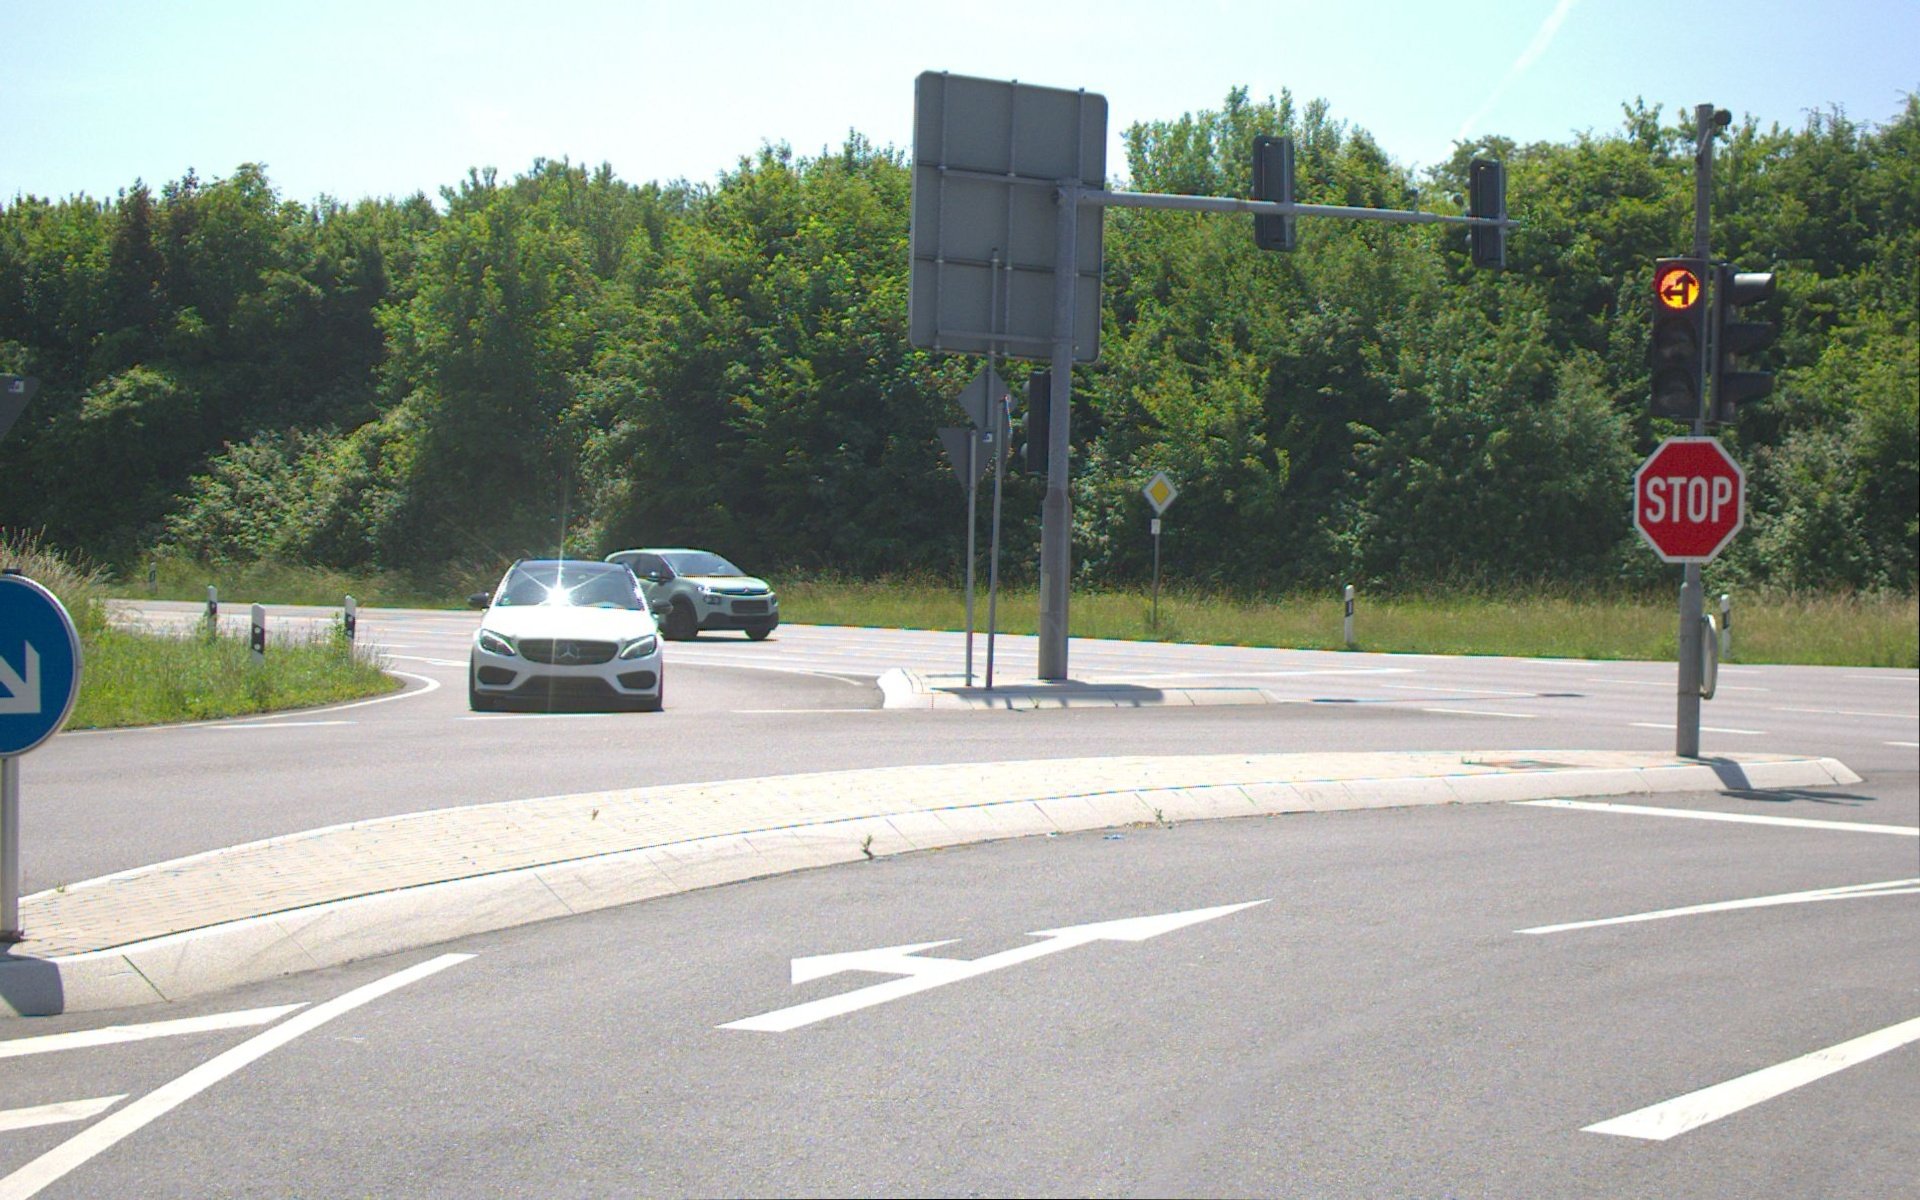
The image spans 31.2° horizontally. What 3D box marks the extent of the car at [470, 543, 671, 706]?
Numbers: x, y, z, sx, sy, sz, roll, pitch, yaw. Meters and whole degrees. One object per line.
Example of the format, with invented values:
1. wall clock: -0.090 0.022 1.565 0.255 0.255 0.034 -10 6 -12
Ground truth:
1. car: -3.938 0.182 34.528 1.804 1.407 5.336 2 1 -7

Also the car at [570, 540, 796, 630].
1. car: -4.666 -0.285 57.587 1.730 1.399 3.985 -1 2 -42
